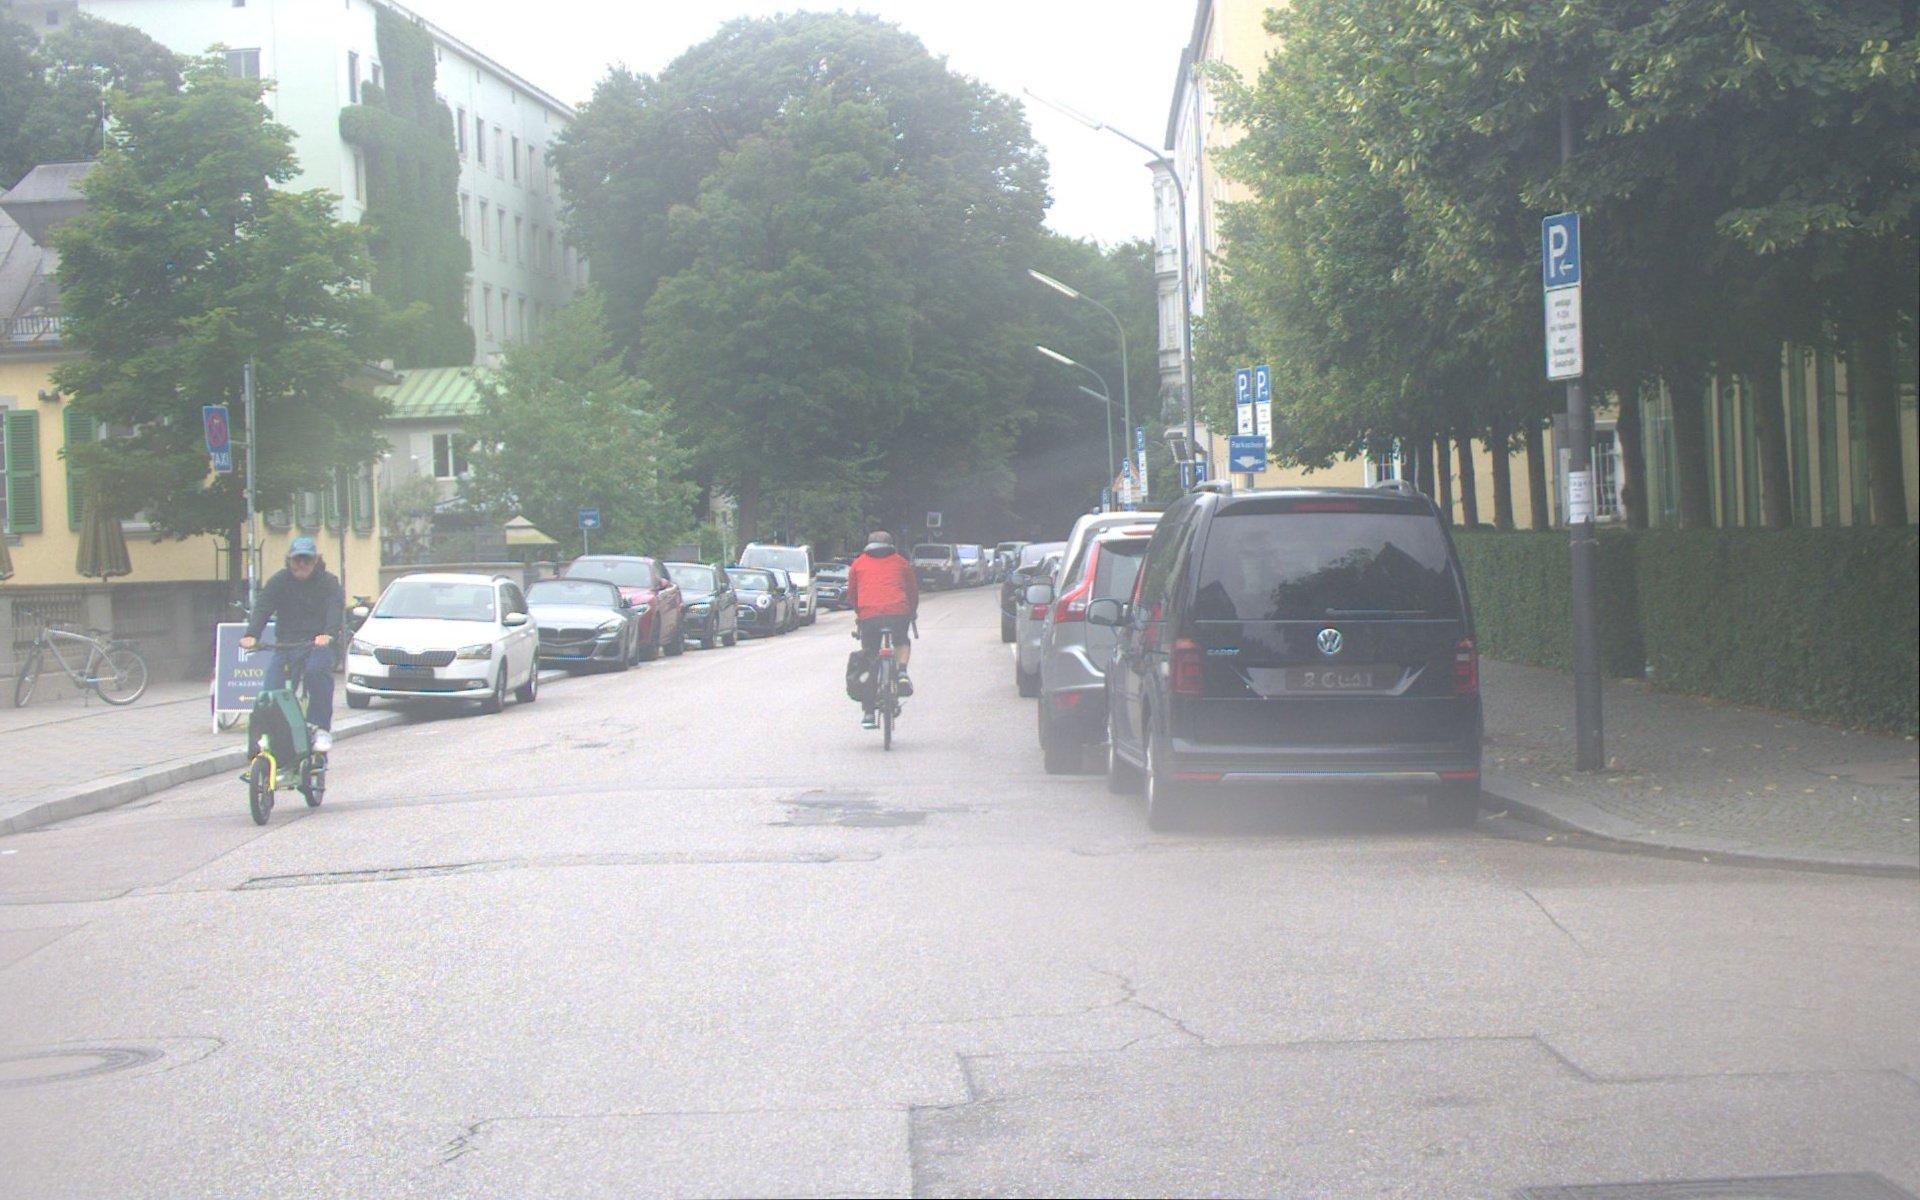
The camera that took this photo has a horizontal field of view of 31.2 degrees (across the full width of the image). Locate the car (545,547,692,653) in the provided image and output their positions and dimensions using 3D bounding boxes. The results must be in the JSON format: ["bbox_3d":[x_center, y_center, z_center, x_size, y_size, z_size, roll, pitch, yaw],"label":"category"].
[{"bbox_3d":[-5.483,-0.009,55.658,1.993,1.597,4.000,-2,0,-1],"label":"car"}]

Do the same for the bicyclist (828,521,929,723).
[{"bbox_3d":[-0.613,0.168,26.270,0.671,1.492,1.095,-2,-1,1],"label":"bicyclist"}]

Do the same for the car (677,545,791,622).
[{"bbox_3d":[-4.814,-0.375,73.689,1.994,1.481,4.000,-2,1,2],"label":"car"}]

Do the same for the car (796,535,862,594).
[{"bbox_3d":[-3.996,-1.100,105.071,1.810,1.677,4.000,-2,1,0],"label":"car"}]

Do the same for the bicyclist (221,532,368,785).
[{"bbox_3d":[-4.284,0.361,22.195,0.743,1.570,0.977,-2,1,-3],"label":"bicyclist"}]

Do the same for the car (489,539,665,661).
[{"bbox_3d":[-5.593,-0.047,50.720,1.993,1.643,4.655,-2,1,1],"label":"car"}]

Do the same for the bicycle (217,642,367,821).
[{"bbox_3d":[-4.269,0.819,22.086,0.621,1.001,2.140,-2,1,-3],"label":"bicycle"}]

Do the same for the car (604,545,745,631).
[{"bbox_3d":[-5.179,-0.237,62.796,1.994,1.481,4.000,0,1,4],"label":"car"}]

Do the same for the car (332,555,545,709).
[{"bbox_3d":[-5.724,0.313,38.122,1.734,1.576,3.788,1,1,1],"label":"car"}]

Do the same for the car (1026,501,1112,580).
[{"bbox_3d":[2.937,-1.617,93.266,1.993,2.053,4.624,-2,1,-2],"label":"car"}]

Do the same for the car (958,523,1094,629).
[{"bbox_3d":[1.040,-0.419,56.454,1.993,1.612,4.000,-2,1,-2],"label":"car"}]

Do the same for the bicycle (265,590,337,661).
[{"bbox_3d":[-9.524,0.361,49.735,0.621,1.001,1.618,-2,0,4],"label":"bicycle"}]

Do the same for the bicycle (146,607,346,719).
[{"bbox_3d":[-6.948,0.599,33.572,0.622,1.001,2.136,1,2,31],"label":"bicycle"}]

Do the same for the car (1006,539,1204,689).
[{"bbox_3d":[1.453,0.098,35.984,1.863,1.435,4.255,-1,1,0],"label":"car"}]

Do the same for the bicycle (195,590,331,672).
[{"bbox_3d":[-9.289,0.410,45.859,1.614,1.001,0.623,-4,0,-37],"label":"bicycle"}]

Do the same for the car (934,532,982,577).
[{"bbox_3d":[-0.078,-2.028,154.576,1.993,2.007,4.000,1,0,2],"label":"car"}]

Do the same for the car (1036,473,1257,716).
[{"bbox_3d":[1.587,-0.091,30.448,1.750,1.936,4.227,-2,1,1],"label":"car"}]

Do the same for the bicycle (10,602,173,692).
[{"bbox_3d":[-9.581,0.514,37.944,1.613,0.922,0.651,-2,0,-26],"label":"bicycle"}]

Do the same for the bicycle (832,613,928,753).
[{"bbox_3d":[-0.596,0.612,26.281,0.621,1.001,2.140,-2,0,0],"label":"bicycle"}]

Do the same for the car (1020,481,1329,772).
[{"bbox_3d":[1.410,0.119,24.236,1.863,1.787,4.510,-2,1,1],"label":"car"}]

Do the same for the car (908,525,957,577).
[{"bbox_3d":[-1.125,-2.056,142.870,1.993,2.091,4.000,1,1,0],"label":"car"}]

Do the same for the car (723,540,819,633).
[{"bbox_3d":[-4.493,-0.346,82.289,1.993,2.072,4.000,-2,1,0],"label":"car"}]

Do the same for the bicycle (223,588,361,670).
[{"bbox_3d":[-8.683,0.376,44.681,1.613,1.001,0.623,-2,0,-27],"label":"bicycle"}]

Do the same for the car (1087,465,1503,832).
[{"bbox_3d":[1.771,0.200,19.420,1.760,1.817,4.140,-1,1,-2],"label":"car"}]
